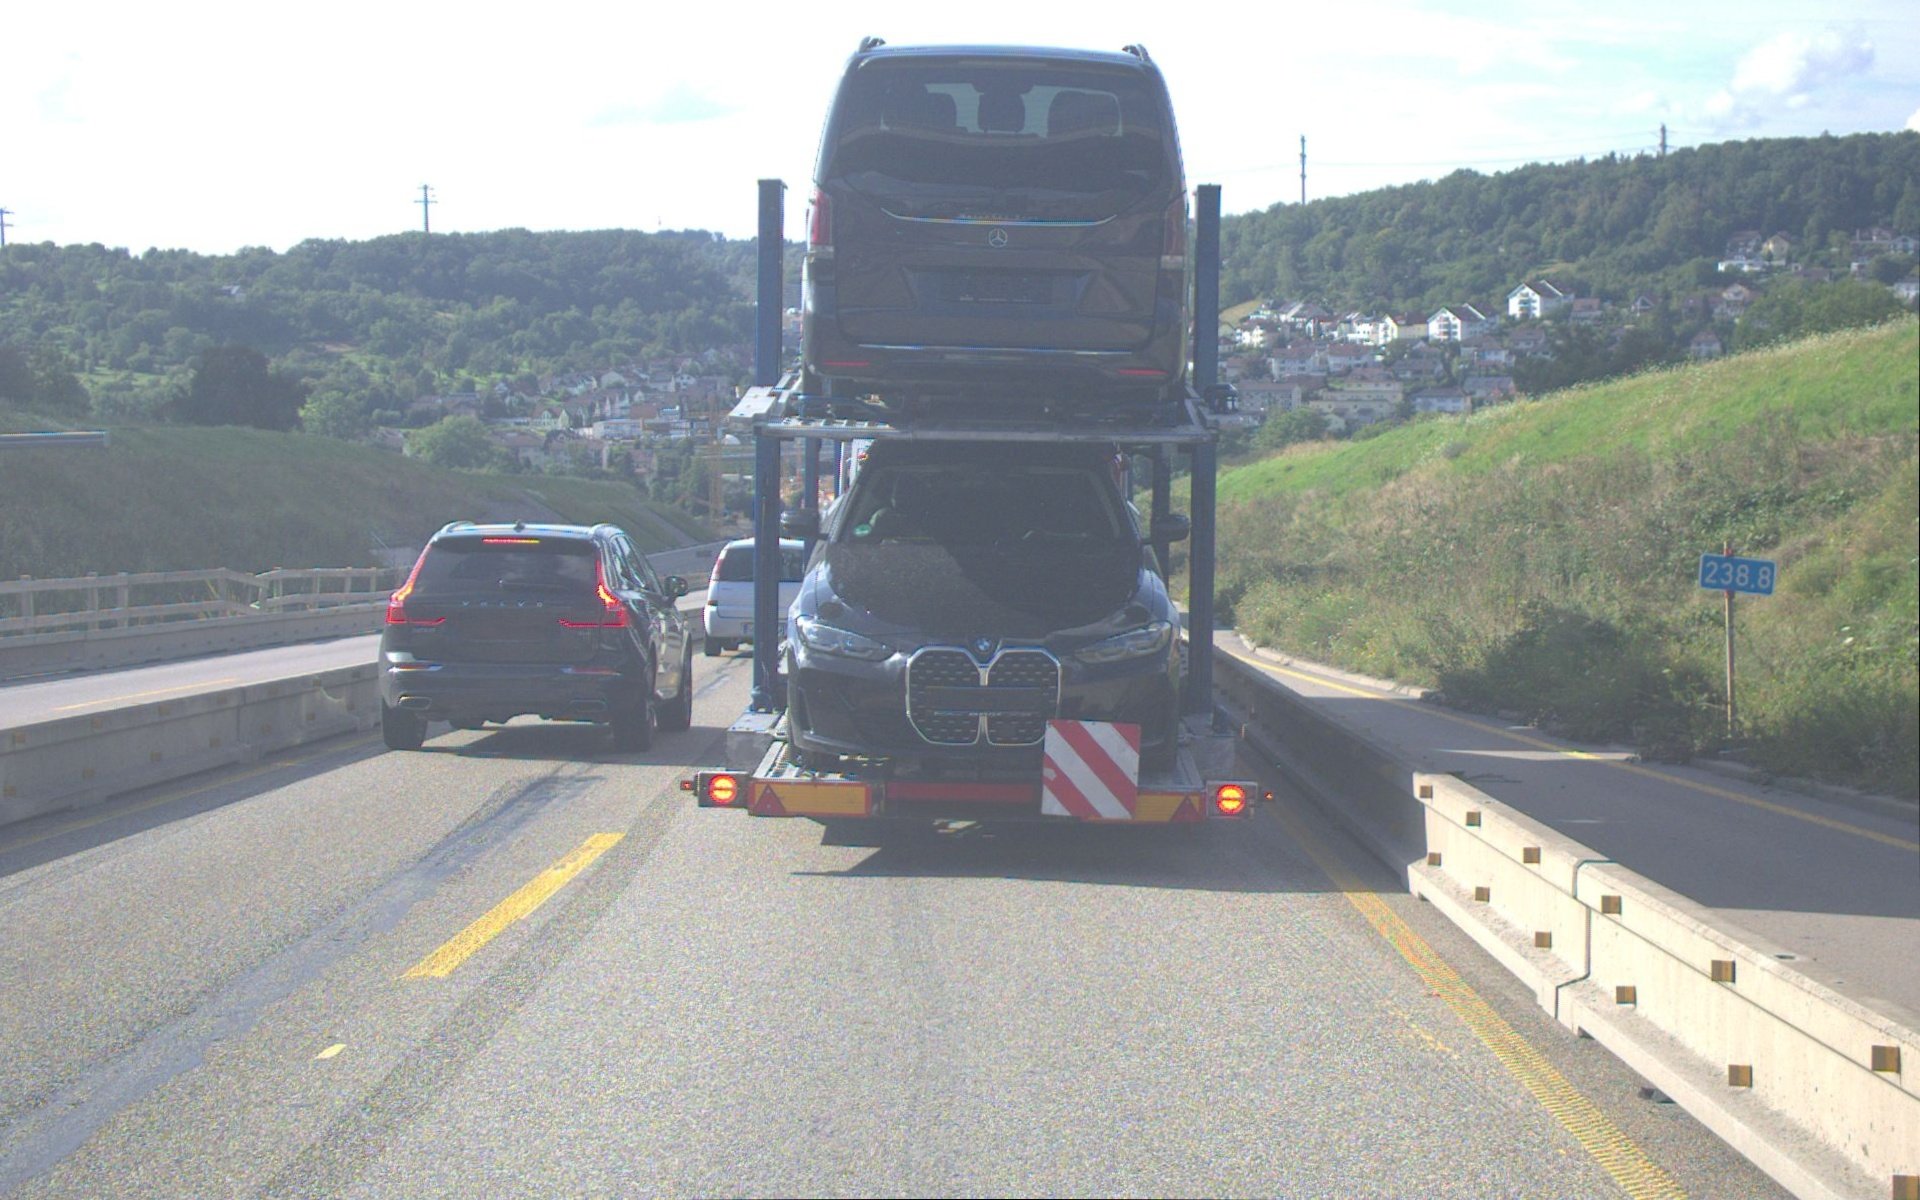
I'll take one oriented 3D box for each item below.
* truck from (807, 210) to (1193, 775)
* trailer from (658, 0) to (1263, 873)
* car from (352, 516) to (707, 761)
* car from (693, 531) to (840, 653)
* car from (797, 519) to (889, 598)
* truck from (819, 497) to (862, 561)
[{"bbox_3d":[0.336,-0.797,26.843,2.678,3.908,6.027,0,1,1],"label":"truck"},{"bbox_3d":[0.173,-0.889,21.111,2.708,4.015,11.419,0,1,2],"label":"trailer"},{"bbox_3d":[-3.118,0.212,25.856,1.993,1.619,4.750,2,1,1],"label":"car"},{"bbox_3d":[-2.630,-0.150,47.684,1.796,1.591,4.743,1,1,-1],"label":"car"},{"bbox_3d":[-2.342,-0.863,69.110,1.796,1.525,4.296,0,1,-2],"label":"car"},{"bbox_3d":[-7.858,-4.669,226.701,2.614,4.139,5.781,0,1,0],"label":"truck"}]
